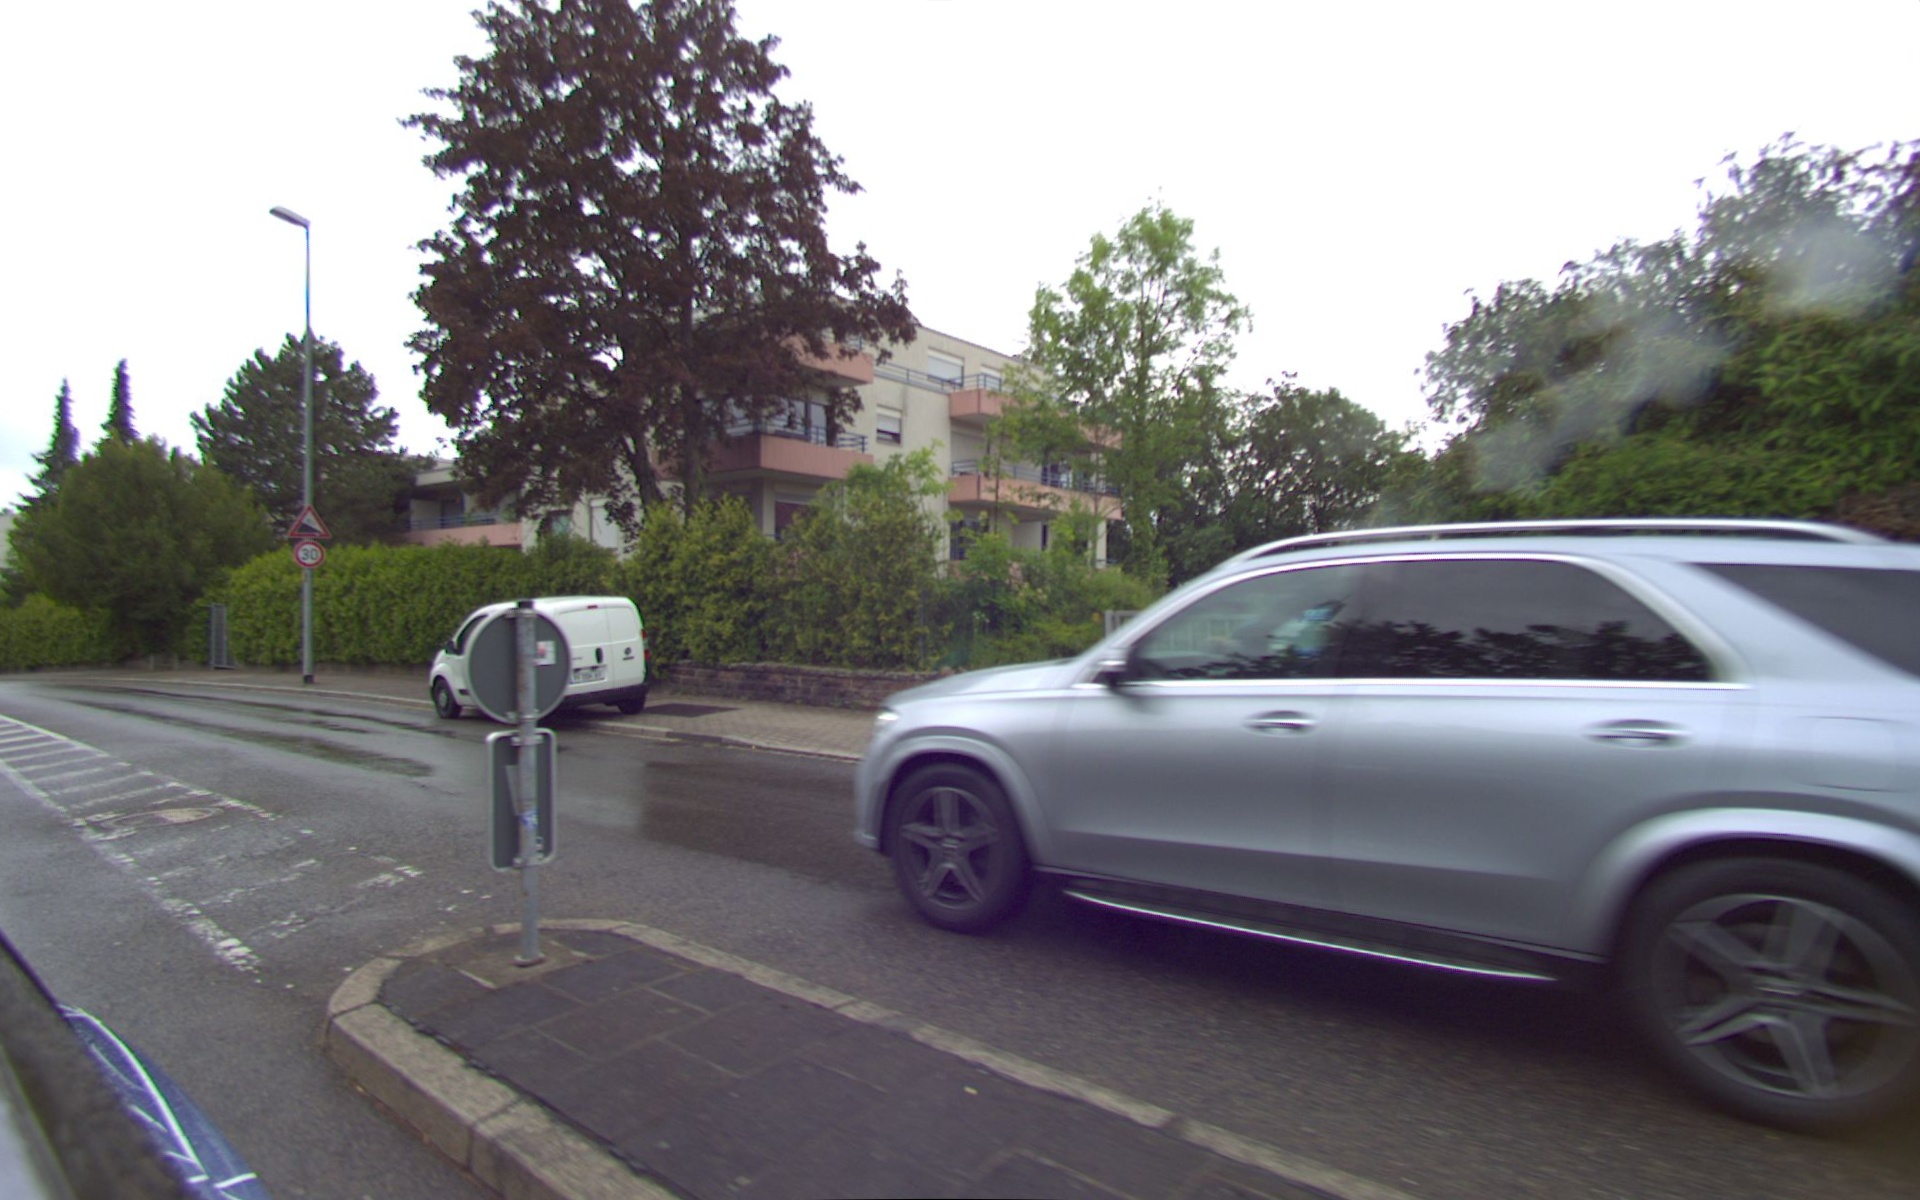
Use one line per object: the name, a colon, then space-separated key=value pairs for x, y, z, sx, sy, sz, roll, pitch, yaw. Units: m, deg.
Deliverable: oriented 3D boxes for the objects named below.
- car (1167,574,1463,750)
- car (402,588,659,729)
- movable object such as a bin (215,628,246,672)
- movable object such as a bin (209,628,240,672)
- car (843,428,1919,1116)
car: x=3.871 y=0.490 z=10.476 sx=1.800 sy=1.372 sz=4.446 roll=-3 pitch=0 yaw=34
car: x=-6.349 y=0.794 z=14.793 sx=3.973 sy=1.720 sz=1.685 roll=-2 pitch=2 yaw=38
movable object such as a bin: x=-23.079 y=1.590 z=32.007 sx=0.804 sy=1.336 sz=0.543 roll=-4 pitch=-1 yaw=36
movable object such as a bin: x=-23.722 y=1.611 z=32.628 sx=0.804 sy=1.336 sz=0.543 roll=-4 pitch=-1 yaw=36
car: x=1.827 y=0.497 z=4.264 sx=4.473 sy=1.729 sz=2.022 roll=-2 pitch=-3 yaw=37
